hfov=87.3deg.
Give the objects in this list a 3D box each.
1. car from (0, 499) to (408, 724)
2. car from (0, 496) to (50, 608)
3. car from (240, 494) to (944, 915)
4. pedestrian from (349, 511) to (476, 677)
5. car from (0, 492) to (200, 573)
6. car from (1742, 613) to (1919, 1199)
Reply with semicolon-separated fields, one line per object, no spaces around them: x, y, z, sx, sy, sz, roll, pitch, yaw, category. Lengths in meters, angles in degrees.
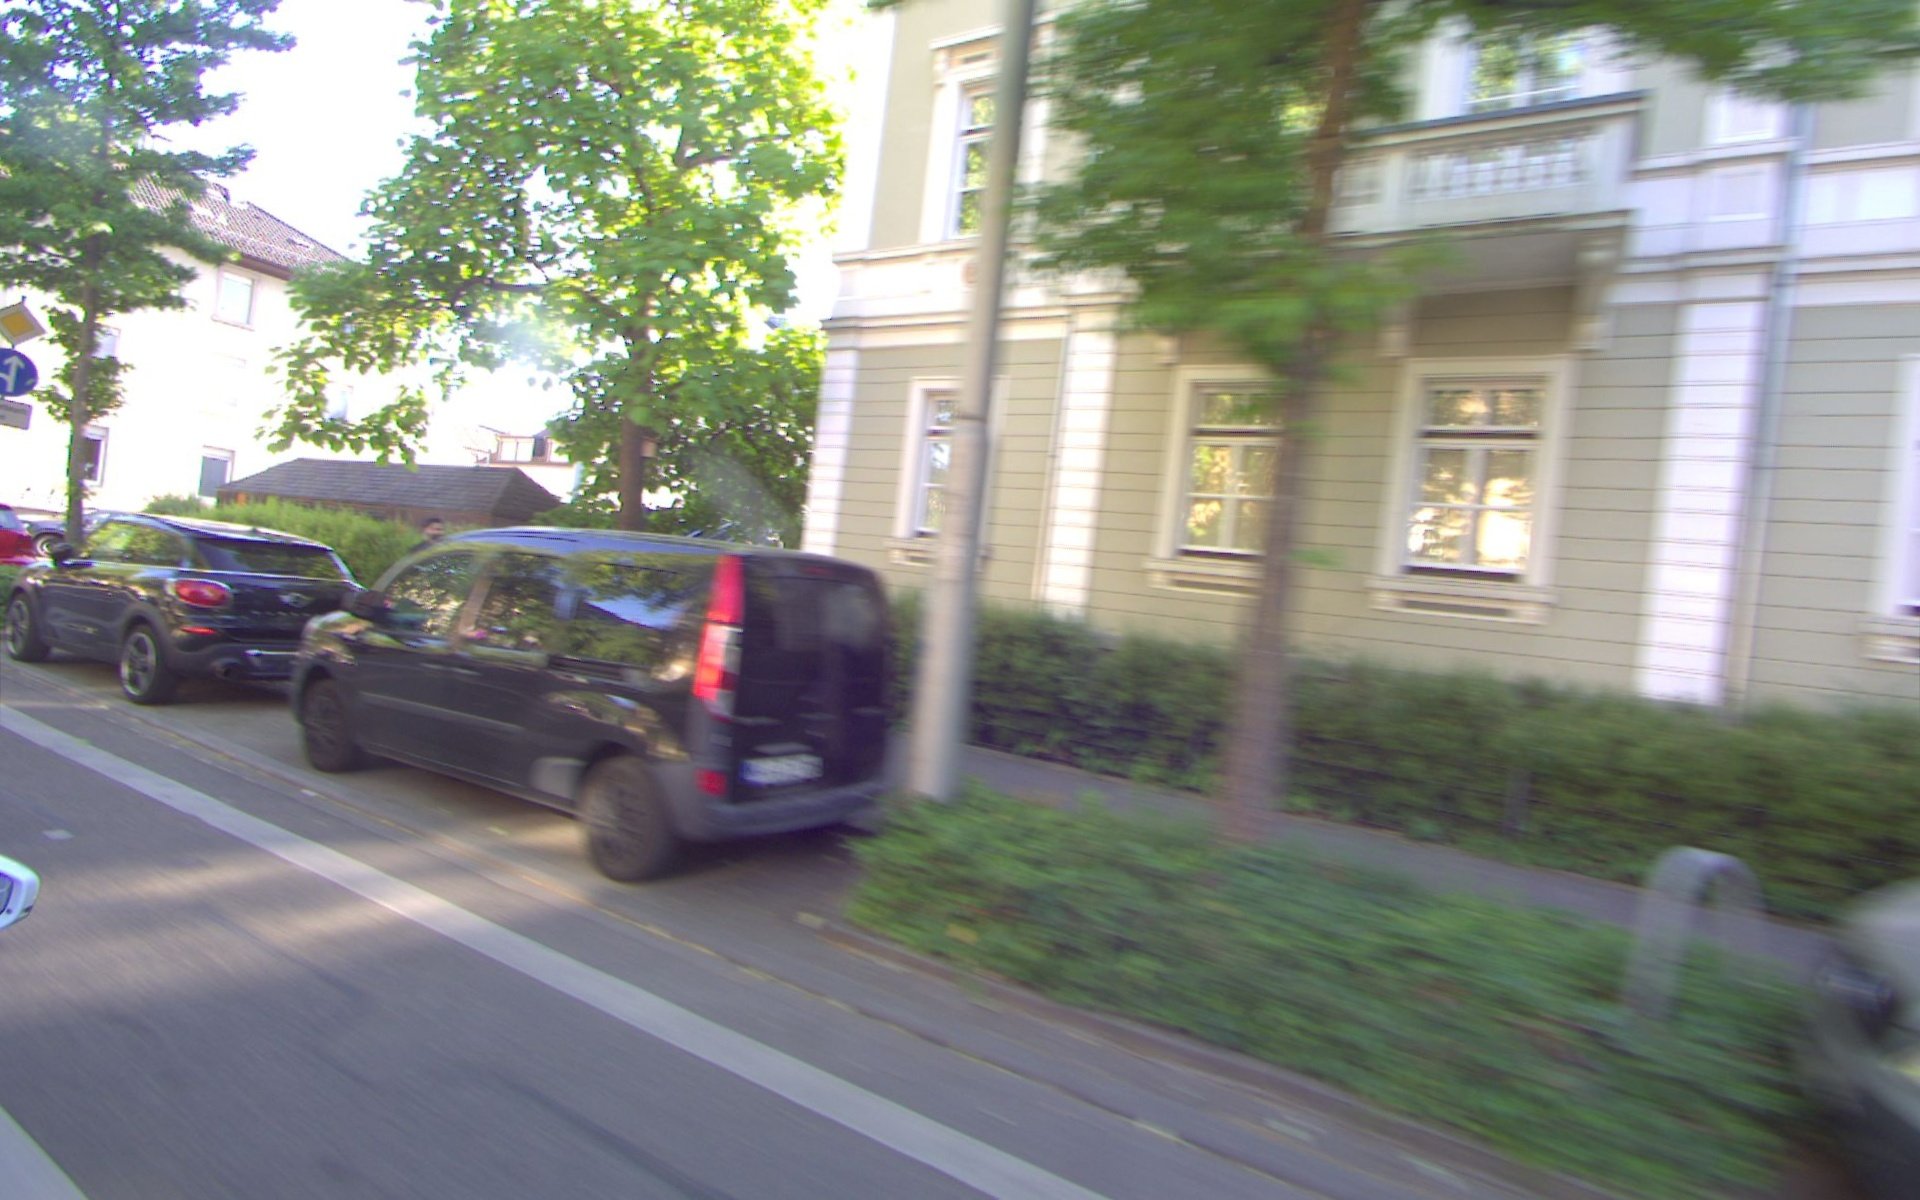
-7.250;0.019;9.506;3.968;1.534;1.713;7;2;31;car
-14.644;-0.827;14.165;3.912;1.443;1.702;7;3;32;car
-2.619;0.412;6.736;4.600;1.789;1.887;7;1;32;car
-6.224;-0.076;11.471;0.819;1.735;0.831;7;3;5;pedestrian
-24.594;-1.887;28.709;1.860;1.617;4.190;7;-1;35;car
4.831;1.236;1.931;4.885;1.876;1.884;7;3;32;car
